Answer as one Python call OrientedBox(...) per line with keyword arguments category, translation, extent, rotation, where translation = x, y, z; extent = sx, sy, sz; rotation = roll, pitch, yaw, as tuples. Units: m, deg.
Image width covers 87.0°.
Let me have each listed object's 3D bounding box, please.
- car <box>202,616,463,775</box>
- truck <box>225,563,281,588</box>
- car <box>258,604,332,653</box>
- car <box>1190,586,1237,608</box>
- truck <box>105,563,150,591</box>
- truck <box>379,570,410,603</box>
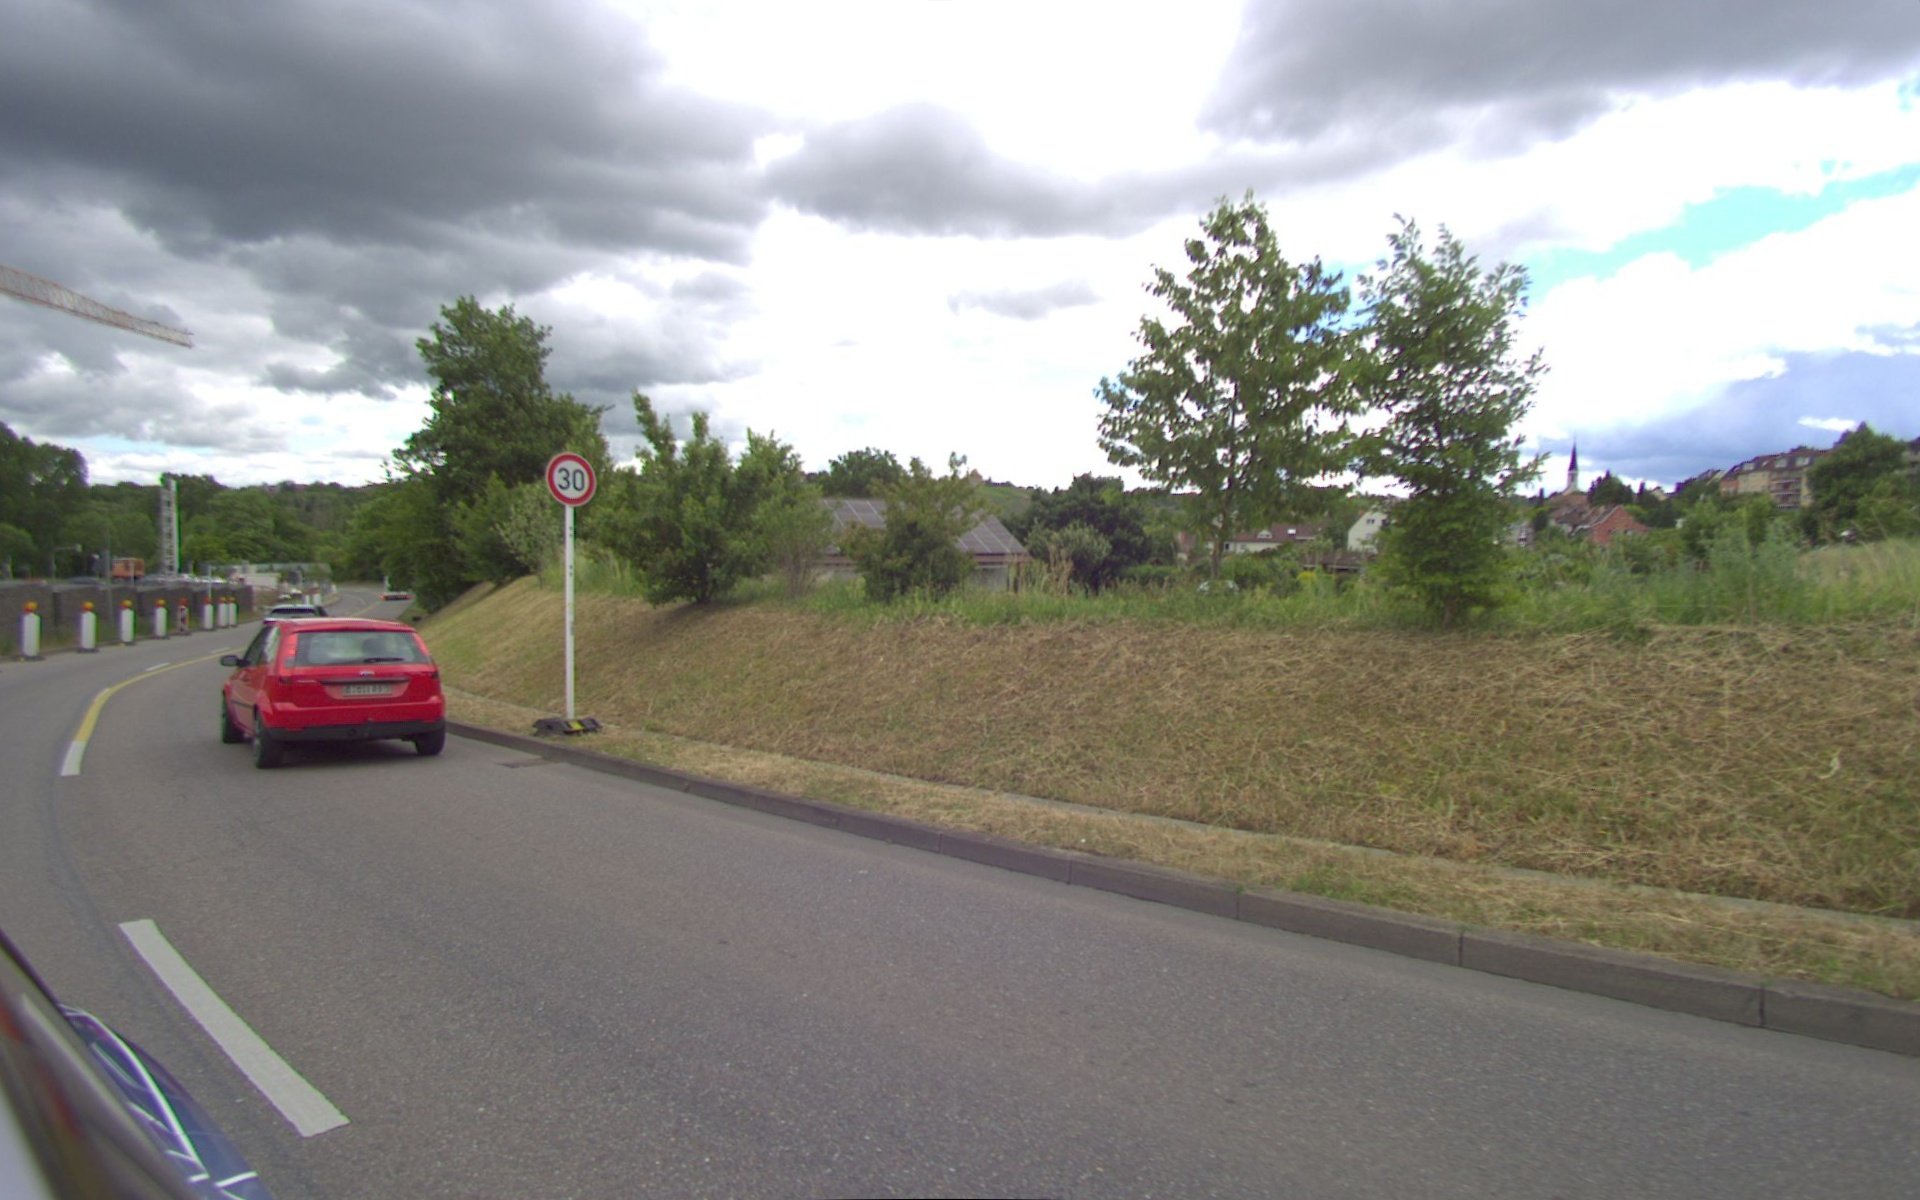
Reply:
OrientedBox(category="car", translation=(-6.968, 0.904, 11.078), extent=(1.720, 1.427, 3.757), rotation=(1, -2, -43))
OrientedBox(category="truck", translation=(-95.178, -3.323, 136.252), extent=(7.569, 3.282, 2.737), rotation=(1, 3, 26))
OrientedBox(category="car", translation=(-21.730, 0.943, 33.058), extent=(1.856, 1.489, 4.613), rotation=(2, -2, -34))
OrientedBox(category="car", translation=(16.575, -0.220, 66.060), extent=(1.420, 1.243, 3.764), rotation=(2, 4, 42))
OrientedBox(category="truck", translation=(-121.663, -3.405, 147.776), extent=(9.992, 3.926, 3.002), rotation=(2, 4, 39))
OrientedBox(category="truck", translation=(-54.367, -1.228, 97.332), extent=(2.184, 3.037, 7.765), rotation=(1, 0, -27))
